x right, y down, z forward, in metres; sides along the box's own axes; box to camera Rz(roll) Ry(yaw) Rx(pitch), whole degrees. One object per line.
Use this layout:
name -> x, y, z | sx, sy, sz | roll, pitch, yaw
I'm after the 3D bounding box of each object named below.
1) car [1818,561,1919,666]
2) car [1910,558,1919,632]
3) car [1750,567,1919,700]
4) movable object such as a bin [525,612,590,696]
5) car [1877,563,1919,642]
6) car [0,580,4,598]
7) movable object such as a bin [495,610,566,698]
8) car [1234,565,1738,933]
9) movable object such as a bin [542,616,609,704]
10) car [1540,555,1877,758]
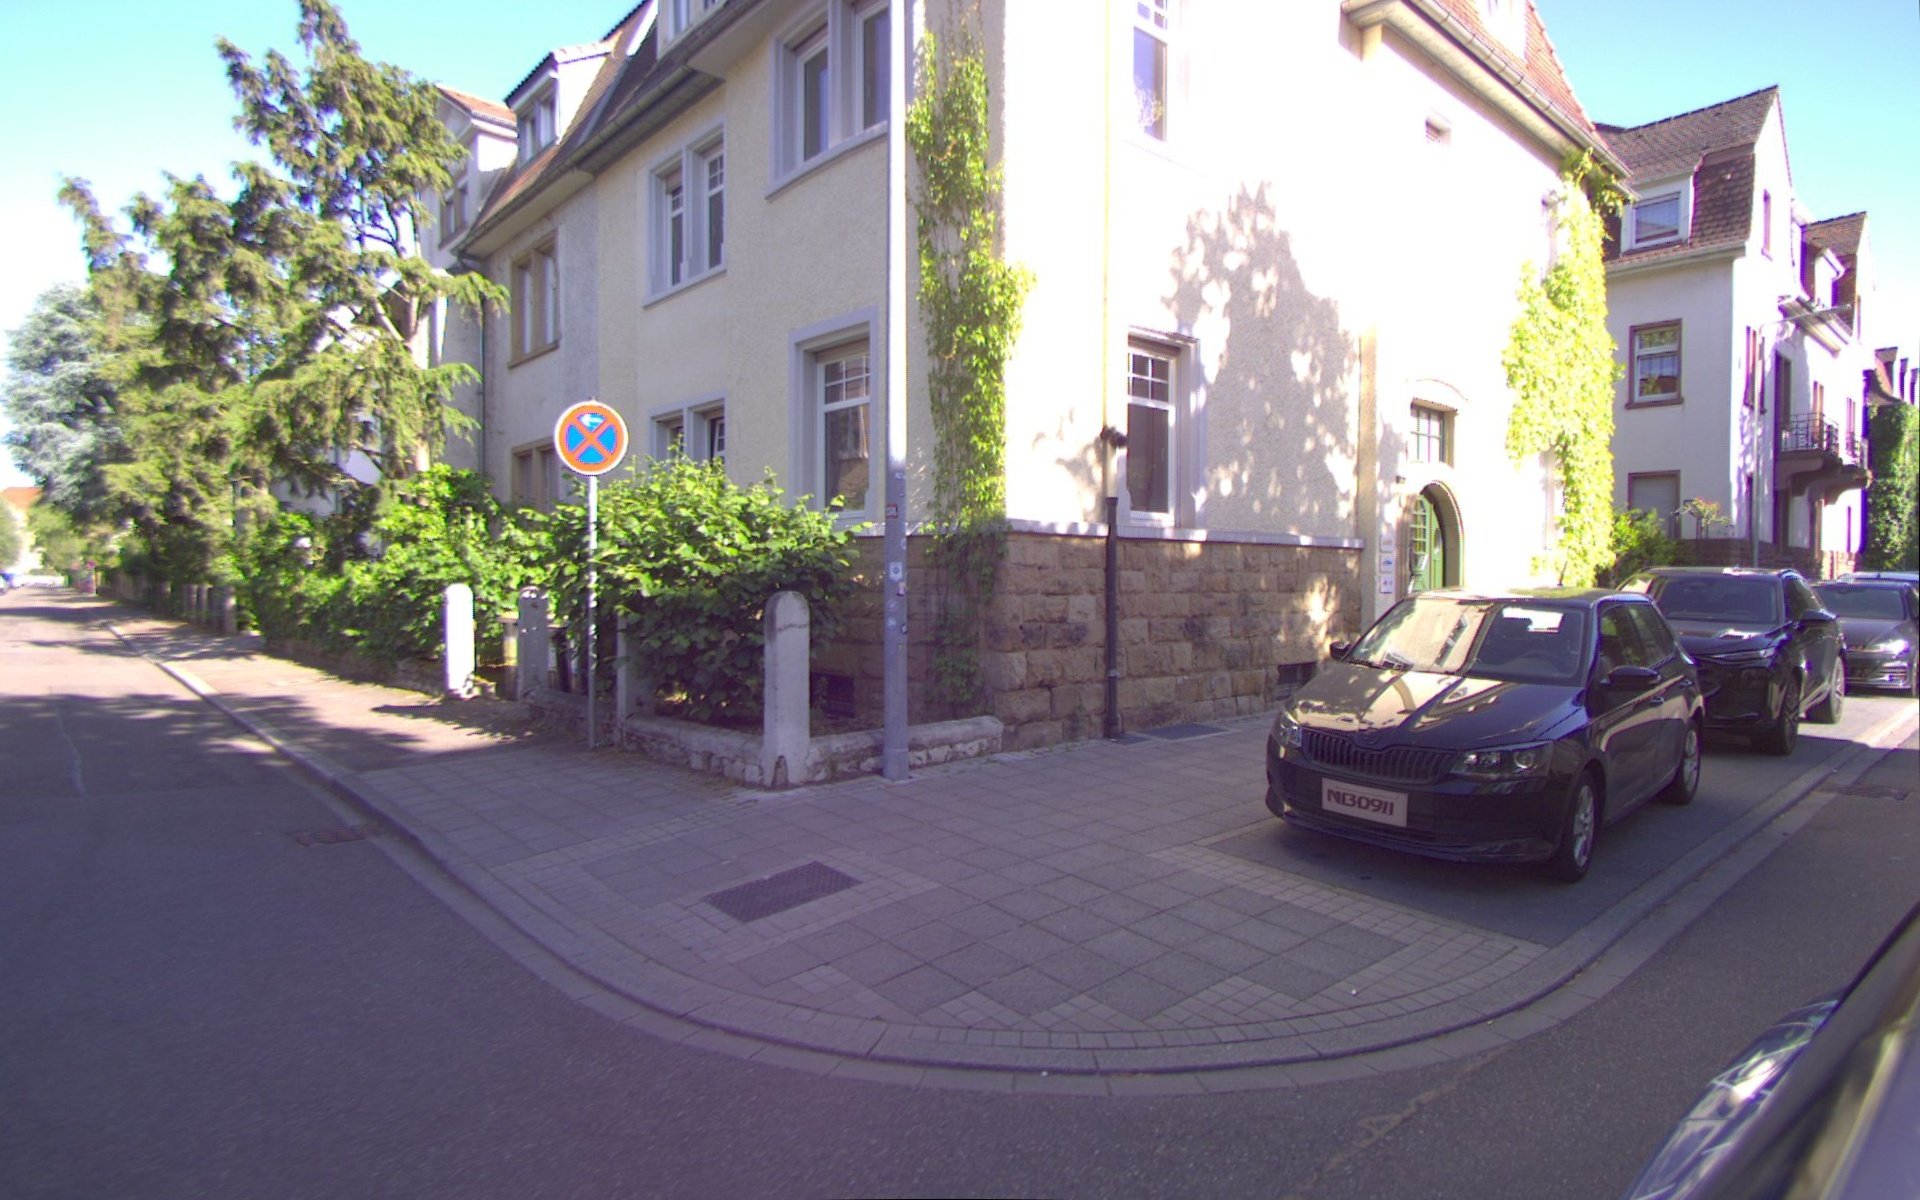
car -> 16.003, 0.162, 17.253 | 3.409, 1.568, 1.578 | -3, 4, -41
car -> 24.585, -0.206, 24.532 | 4.245, 1.717, 1.781 | -3, 1, -40
car -> 12.484, 0.336, 13.960 | 4.121, 1.453, 1.713 | -3, 5, -41
movable object such as a bin -> -4.874, 0.640, 12.255 | 0.566, 0.964, 0.519 | -3, 0, -40
car -> 20.695, 0.010, 21.394 | 2.820, 1.568, 1.628 | -3, 2, -41
car -> -86.214, -0.980, 90.041 | 1.646, 1.590, 3.720 | -2, 2, -43
movable object such as a bin -> -5.337, 0.654, 12.573 | 0.655, 1.034, 0.519 | -3, 0, -41
car -> 3.529, 0.596, 6.447 | 3.937, 1.538, 1.664 | -3, 4, -44
movable object such as a bin -> -4.504, 0.686, 11.846 | 0.566, 0.964, 0.519 | -3, 0, -40
car -> 7.566, 0.357, 10.074 | 4.292, 1.538, 1.795 | -3, 4, -41
